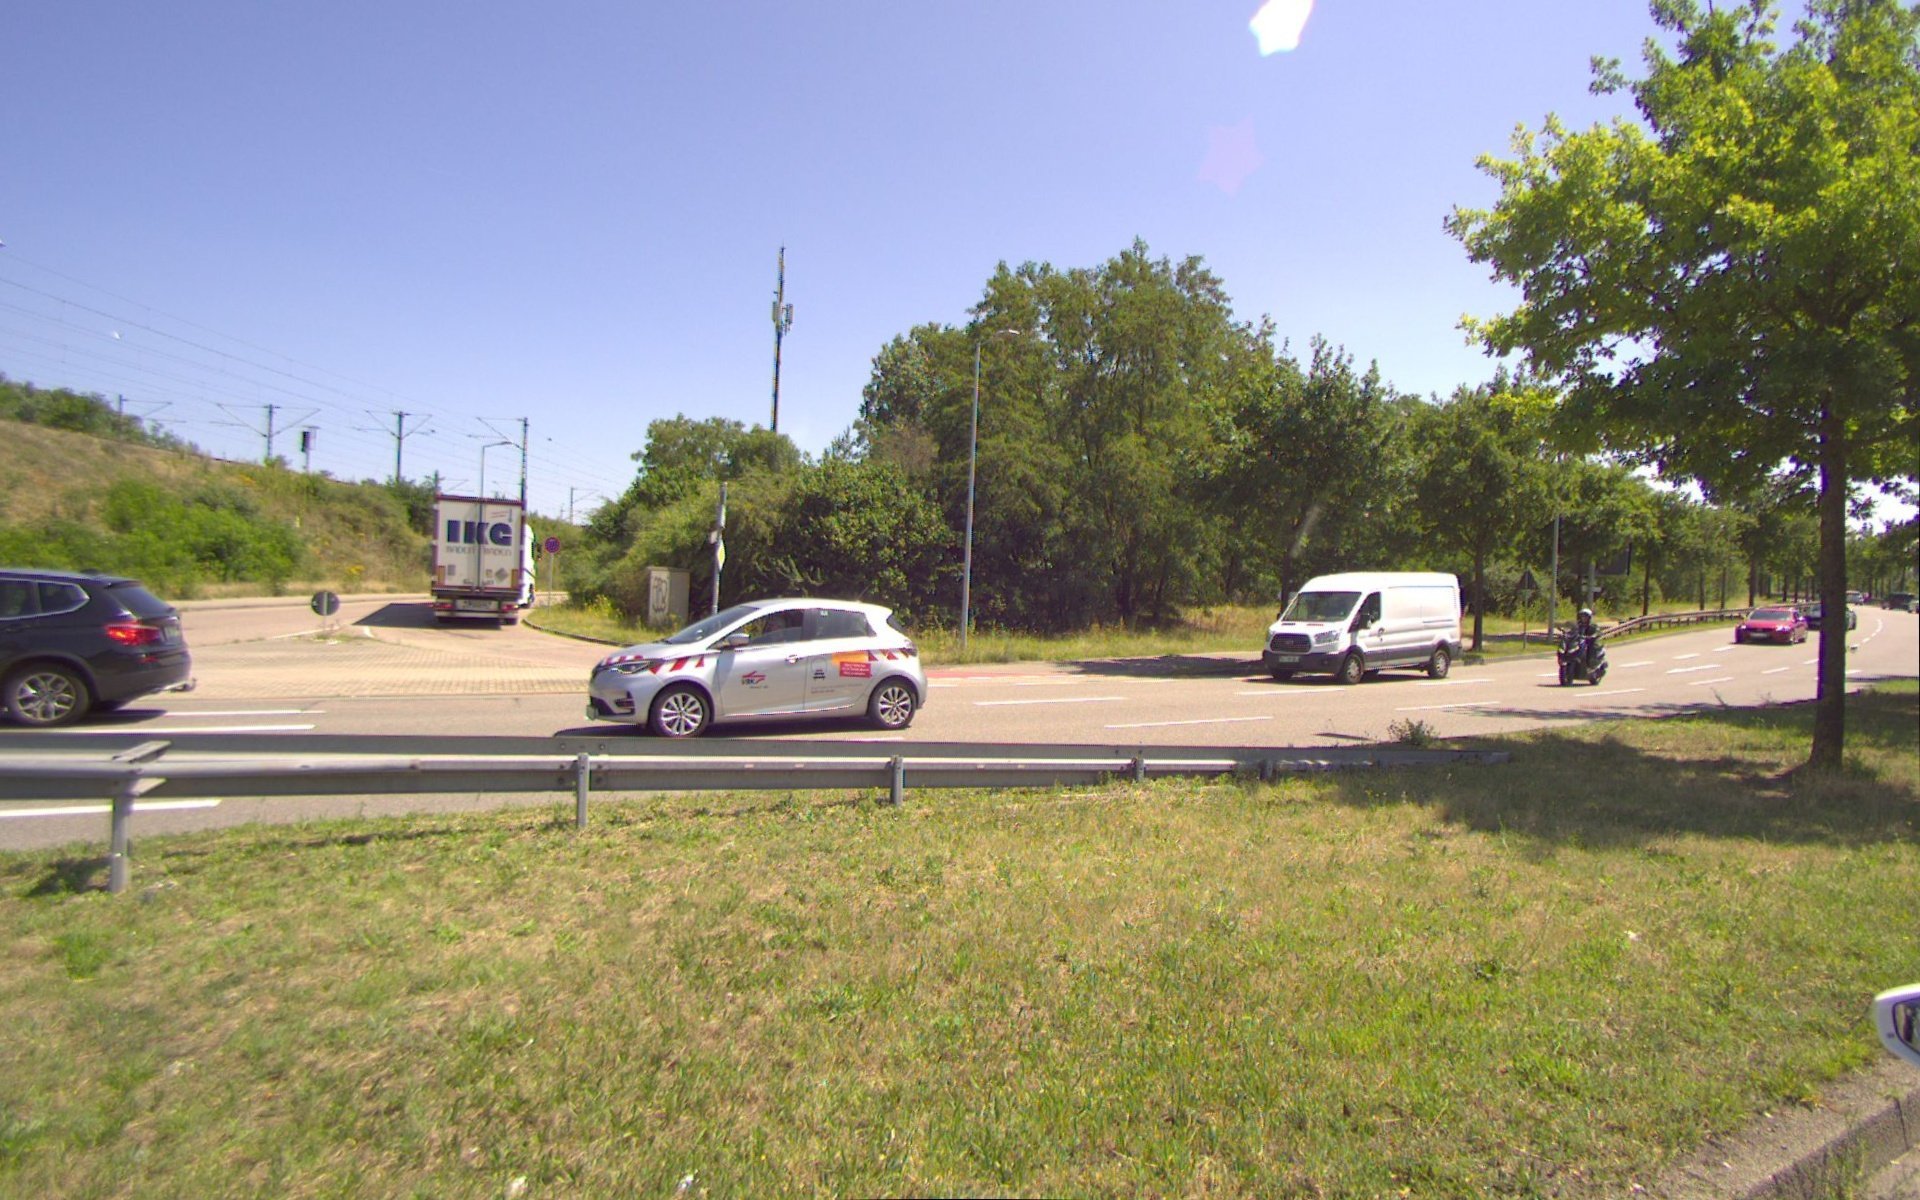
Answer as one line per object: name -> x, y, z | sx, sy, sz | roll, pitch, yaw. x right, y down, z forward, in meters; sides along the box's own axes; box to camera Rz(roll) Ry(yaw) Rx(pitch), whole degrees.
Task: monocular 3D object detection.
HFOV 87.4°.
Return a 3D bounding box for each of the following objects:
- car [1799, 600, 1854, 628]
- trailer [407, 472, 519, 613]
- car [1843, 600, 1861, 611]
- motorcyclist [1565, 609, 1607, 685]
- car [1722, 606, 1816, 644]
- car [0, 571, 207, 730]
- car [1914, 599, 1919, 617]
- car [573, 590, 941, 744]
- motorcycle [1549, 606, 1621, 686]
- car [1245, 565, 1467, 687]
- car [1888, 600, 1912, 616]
car -> 45.576, 0.765, 52.815 | 4.538, 1.351, 1.792 | 2, 0, -44
trailer -> -17.520, -1.714, 35.632 | 2.981, 4.104, 12.621 | 0, 0, -26
car -> 96.816, 0.593, 109.042 | 1.306, 1.154, 2.981 | 2, 0, 40
motorcyclist -> 13.917, 1.042, 22.330 | 0.557, 1.648, 0.582 | 2, 0, -37
car -> 33.549, 1.053, 41.635 | 4.479, 1.456, 1.819 | 2, -2, -34
car -> -10.995, 0.505, 10.787 | 4.412, 1.655, 1.484 | 1, 1, -25
car -> 77.387, 0.644, 80.320 | 1.440, 1.331, 3.619 | 2, 0, 41
car -> -2.372, 0.725, 12.039 | 4.025, 1.588, 1.626 | 1, -1, -31
motorcycle -> 13.903, 1.013, 22.313 | 2.405, 1.700, 0.593 | 2, 0, -40
car -> 9.365, 0.541, 23.532 | 5.752, 2.534, 2.080 | 0, 0, -36
car -> 84.546, 0.698, 90.394 | 1.401, 1.331, 3.320 | 2, 0, 41
